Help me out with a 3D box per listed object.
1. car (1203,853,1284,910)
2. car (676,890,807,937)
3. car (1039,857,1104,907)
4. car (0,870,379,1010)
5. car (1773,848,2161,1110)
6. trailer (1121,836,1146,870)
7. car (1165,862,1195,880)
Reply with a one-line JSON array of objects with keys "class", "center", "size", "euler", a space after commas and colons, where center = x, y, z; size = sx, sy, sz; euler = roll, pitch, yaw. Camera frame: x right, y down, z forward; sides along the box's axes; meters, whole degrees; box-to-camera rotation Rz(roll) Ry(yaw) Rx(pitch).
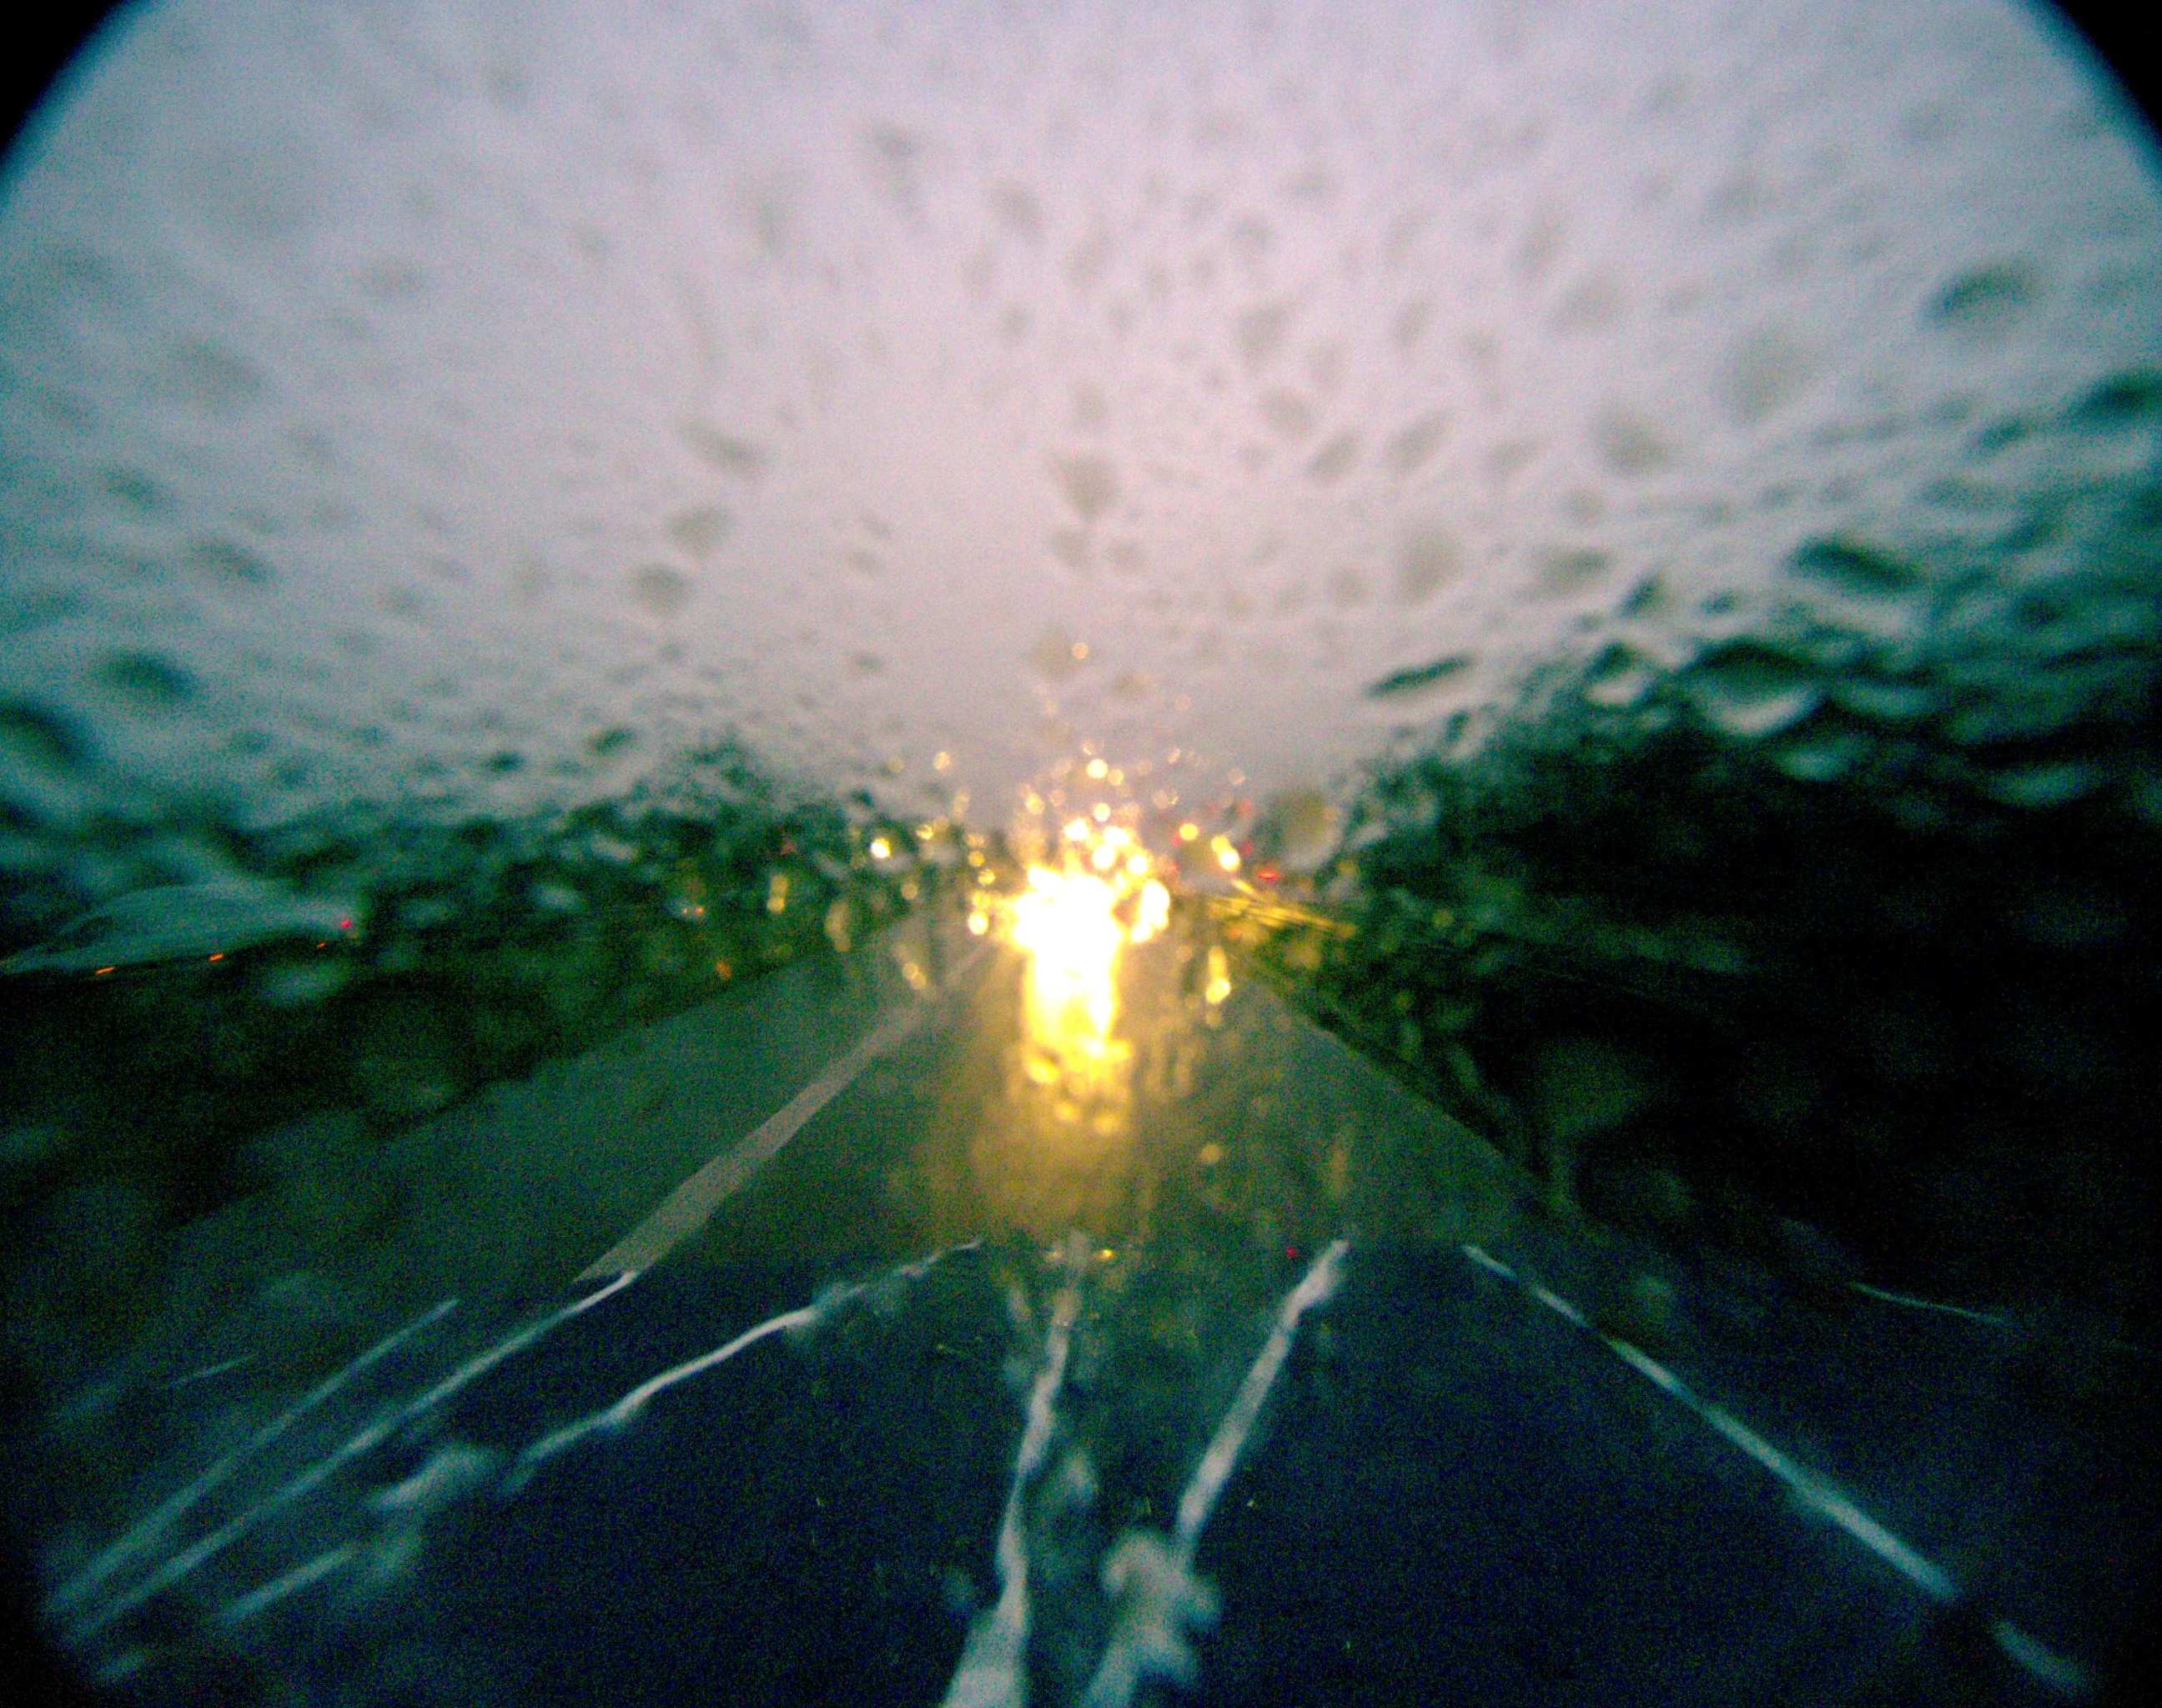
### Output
[{"class": "car", "center": [6.521, 1.028, 31.114], "size": [1.999, 2.002, 4.998], "euler": [-4, 0, -2]}, {"class": "car", "center": [-13.446, 2.350, 30.337], "size": [1.738, 1.406, 4.386], "euler": [-5, -1, 38]}, {"class": "car", "center": [-0.228, 0.970, 25.742], "size": [1.886, 1.513, 4.003], "euler": [-1, -3, 3]}, {"class": "car", "center": [-24.332, 2.197, 21.277], "size": [6.400, 2.948, 2.284], "euler": [-5, 0, -34]}, {"class": "car", "center": [7.166, 0.714, 4.511], "size": [1.999, 1.463, 4.472], "euler": [-1, 0, -1]}, {"class": "trailer", "center": [7.468, -0.118, 109.248], "size": [2.634, 4.558, 13.325], "euler": [-1, 0, 1]}, {"class": "car", "center": [9.136, 1.605, 70.365], "size": [2.099, 1.583, 4.479], "euler": [-1, -2, -1]}]
